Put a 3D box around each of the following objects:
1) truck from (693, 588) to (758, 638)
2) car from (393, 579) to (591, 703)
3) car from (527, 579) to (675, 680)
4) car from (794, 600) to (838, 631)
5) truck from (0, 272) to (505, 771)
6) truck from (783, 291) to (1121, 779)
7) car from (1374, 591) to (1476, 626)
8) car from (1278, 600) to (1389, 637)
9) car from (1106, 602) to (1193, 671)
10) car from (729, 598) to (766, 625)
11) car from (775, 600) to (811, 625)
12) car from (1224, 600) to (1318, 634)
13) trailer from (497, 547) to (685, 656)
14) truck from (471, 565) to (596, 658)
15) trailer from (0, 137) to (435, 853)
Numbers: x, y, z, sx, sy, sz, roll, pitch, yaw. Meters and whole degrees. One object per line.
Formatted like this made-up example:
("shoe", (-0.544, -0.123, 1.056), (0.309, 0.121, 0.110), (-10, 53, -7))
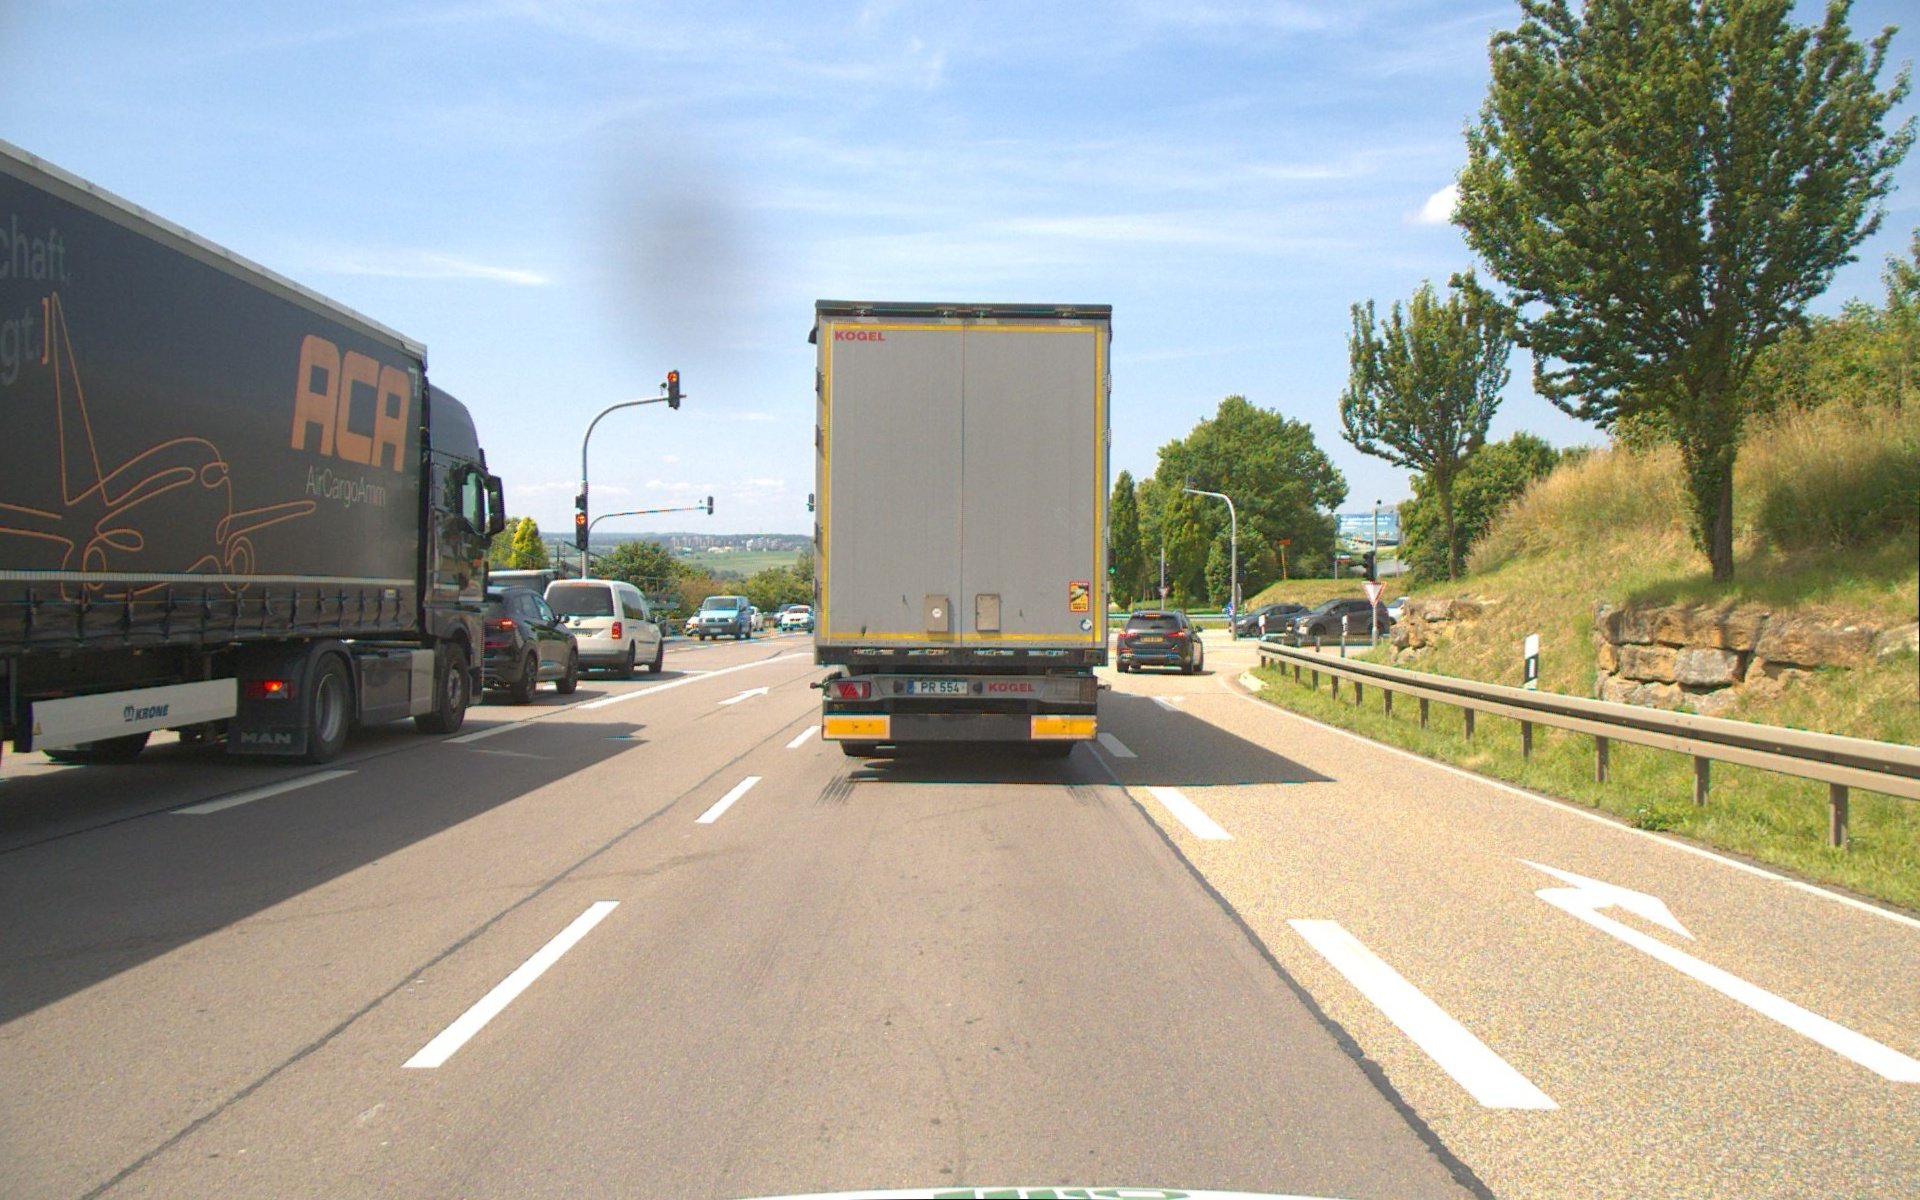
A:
("truck", (-10.644, 0.587, 75.400), (1.925, 2.195, 4.626), (-1, -1, 5))
("car", (-6.936, 0.575, 24.992), (1.818, 1.686, 4.347), (1, 0, -1))
("car", (-7.038, 0.542, 32.878), (1.731, 1.830, 4.753), (1, 0, 2))
("car", (-7.564, 0.852, 87.225), (1.719, 1.494, 4.196), (3, -1, 2))
("truck", (-6.783, -0.634, 16.656), (2.726, 4.083, 5.970), (1, 0, -1))
("truck", (-0.156, -0.501, 19.401), (2.742, 3.998, 11.338), (1, 0, -1))
("car", (21.856, 0.396, 77.864), (4.277, 1.620, 1.776), (0, -1, -9))
("car", (15.700, 0.772, 69.596), (4.280, 1.537, 1.711), (0, -1, -11))
("car", (4.515, 0.859, 39.951), (1.709, 1.559, 4.299), (1, -1, 2))
("car", (-12.896, 0.708, 100.545), (1.610, 1.523, 3.802), (-2, -1, 2))
("car", (-10.049, 0.770, 99.989), (1.736, 1.459, 4.000), (-1, -1, 0))
("car", (14.266, 0.793, 75.910), (3.913, 1.537, 1.713), (0, -1, -9))
("trailer", (-14.581, 0.170, 67.883), (2.584, 3.829, 19.803), (0, -1, 2))
("truck", (-14.919, 0.419, 58.249), (2.741, 3.066, 5.990), (0, -1, 1))
("trailer", (-6.718, -0.593, 10.040), (2.726, 3.982, 13.784), (1, 0, -1))
